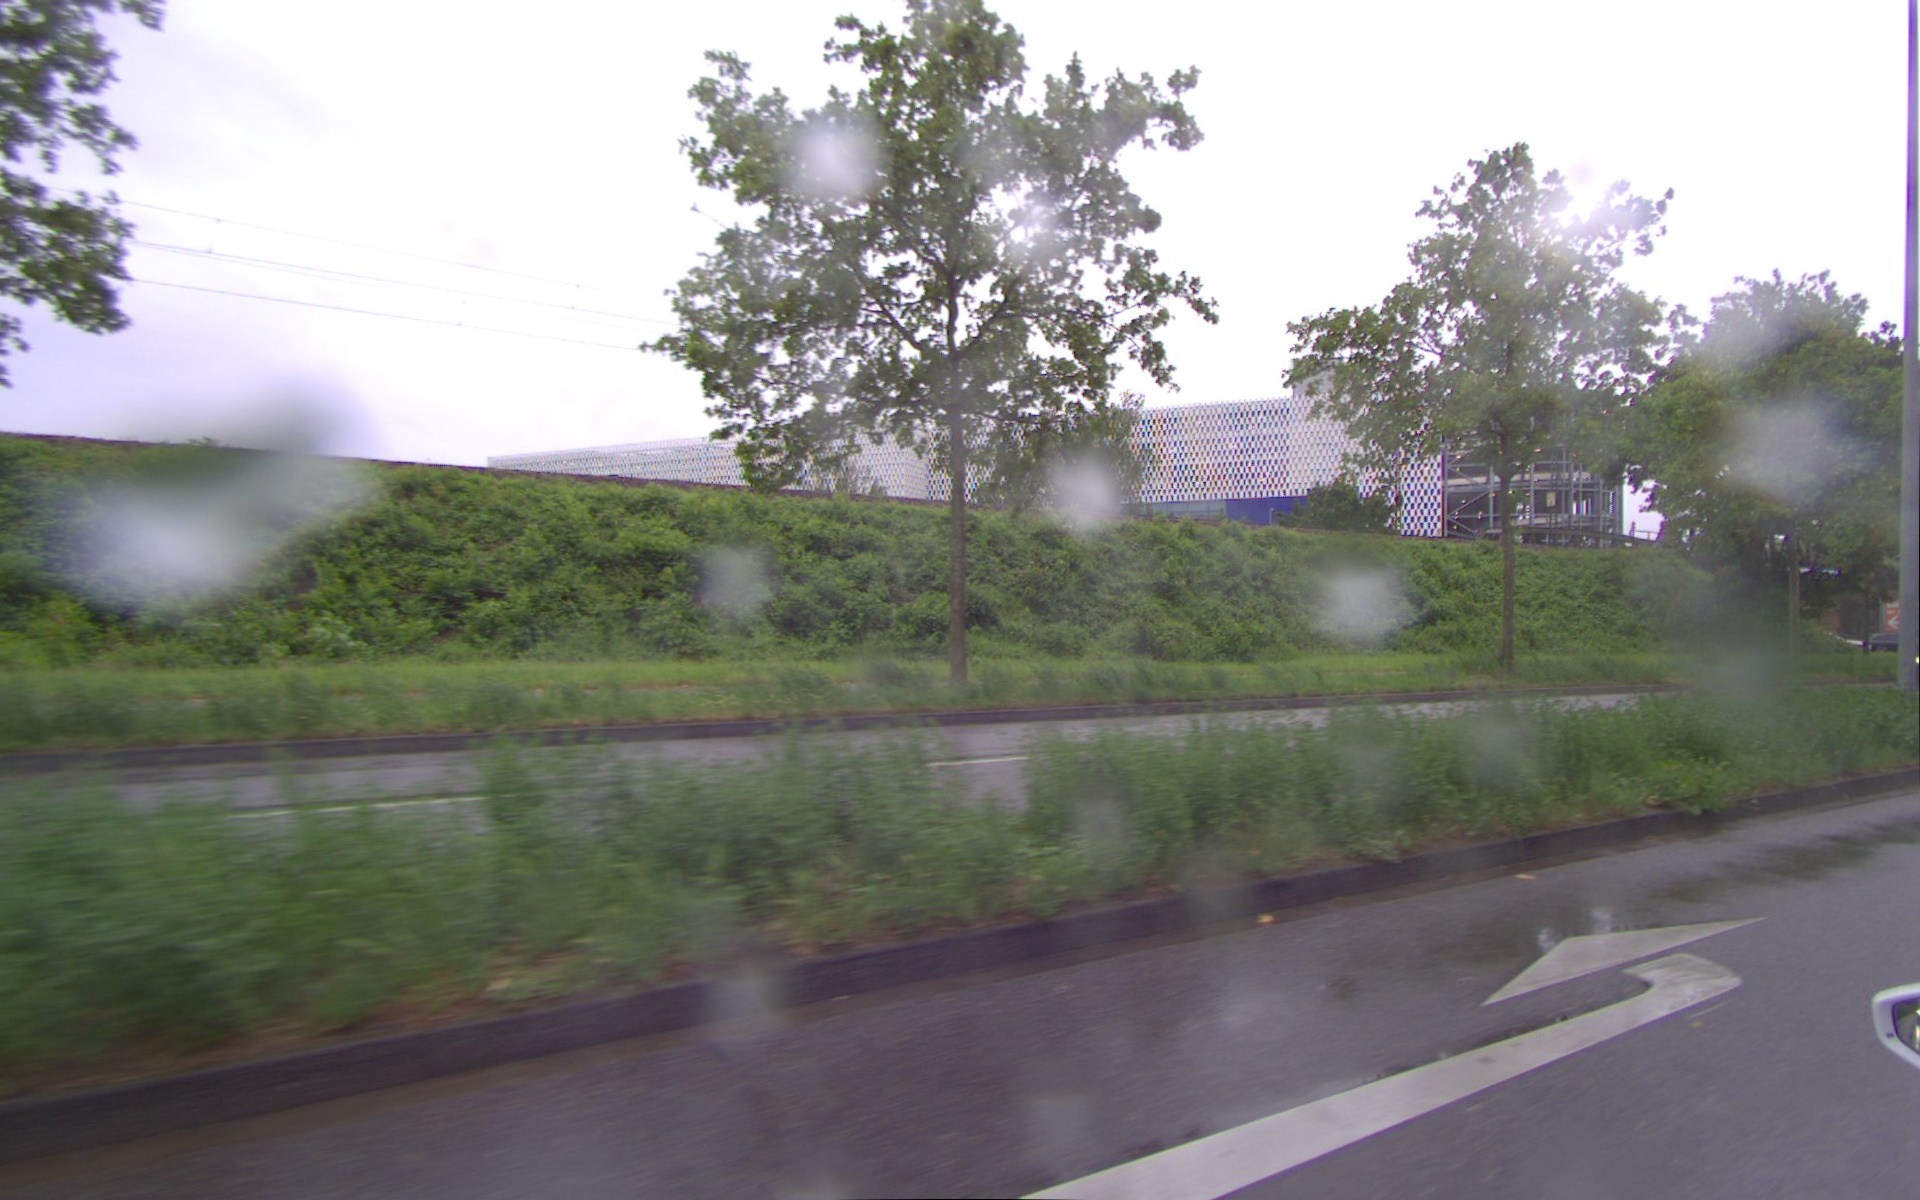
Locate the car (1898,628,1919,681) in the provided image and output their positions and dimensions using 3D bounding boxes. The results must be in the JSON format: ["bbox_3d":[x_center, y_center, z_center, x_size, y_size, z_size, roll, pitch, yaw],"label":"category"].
[{"bbox_3d":[28.883,1.562,28.680,4.444,1.464,1.921,1,0,-31],"label":"car"}]

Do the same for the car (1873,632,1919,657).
[{"bbox_3d":[62.447,2.937,65.307,4.310,1.557,1.798,1,0,32],"label":"car"}]
